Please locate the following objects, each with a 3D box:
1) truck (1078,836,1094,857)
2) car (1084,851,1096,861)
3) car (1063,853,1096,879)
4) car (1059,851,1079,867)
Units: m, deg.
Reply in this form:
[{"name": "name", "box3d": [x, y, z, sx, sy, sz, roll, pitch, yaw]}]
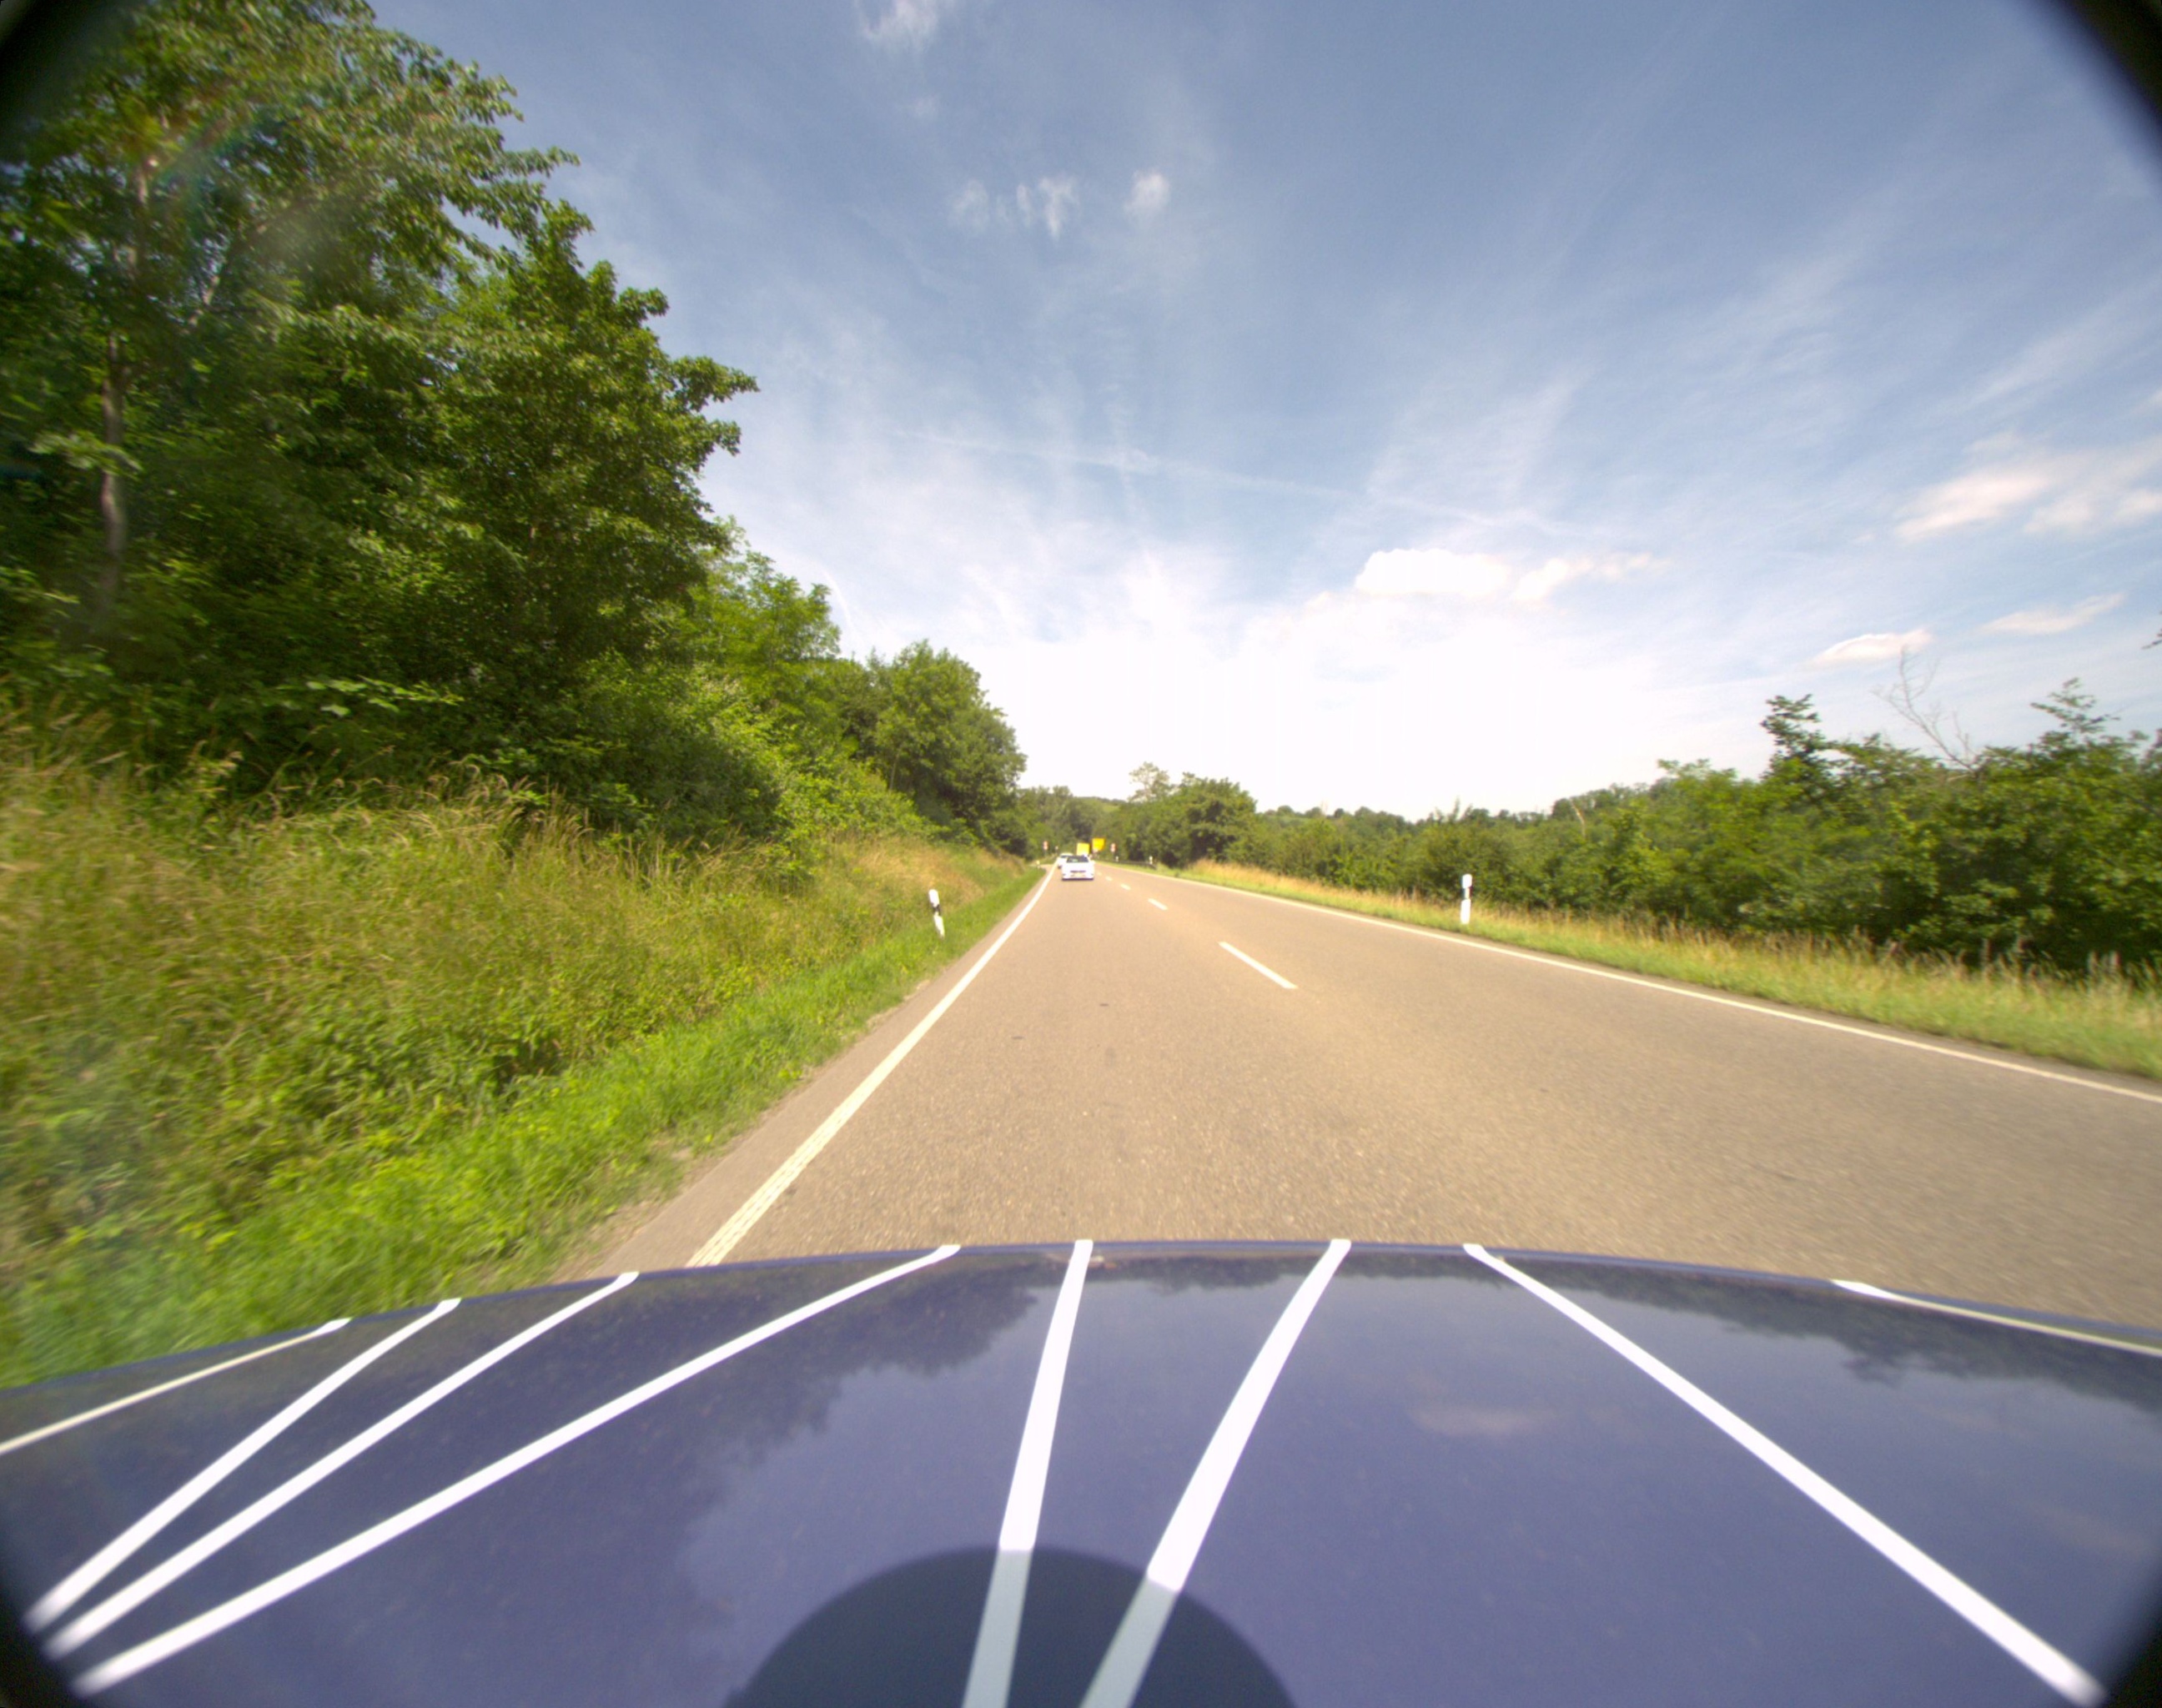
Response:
[{"name": "truck", "box3d": [1.102, -1.664, 173.329, 3.338, 4.503, 8.576, 2, 0, -1]}, {"name": "car", "box3d": [1.608, 0.345, 134.787, 1.841, 1.834, 4.225, 2, 0, 2]}, {"name": "car", "box3d": [-0.110, 0.683, 44.345, 1.773, 1.437, 4.000, -2, 0, 0]}, {"name": "car", "box3d": [-1.241, 0.458, 76.321, 1.866, 1.480, 3.999, -1, 0, -2]}]
